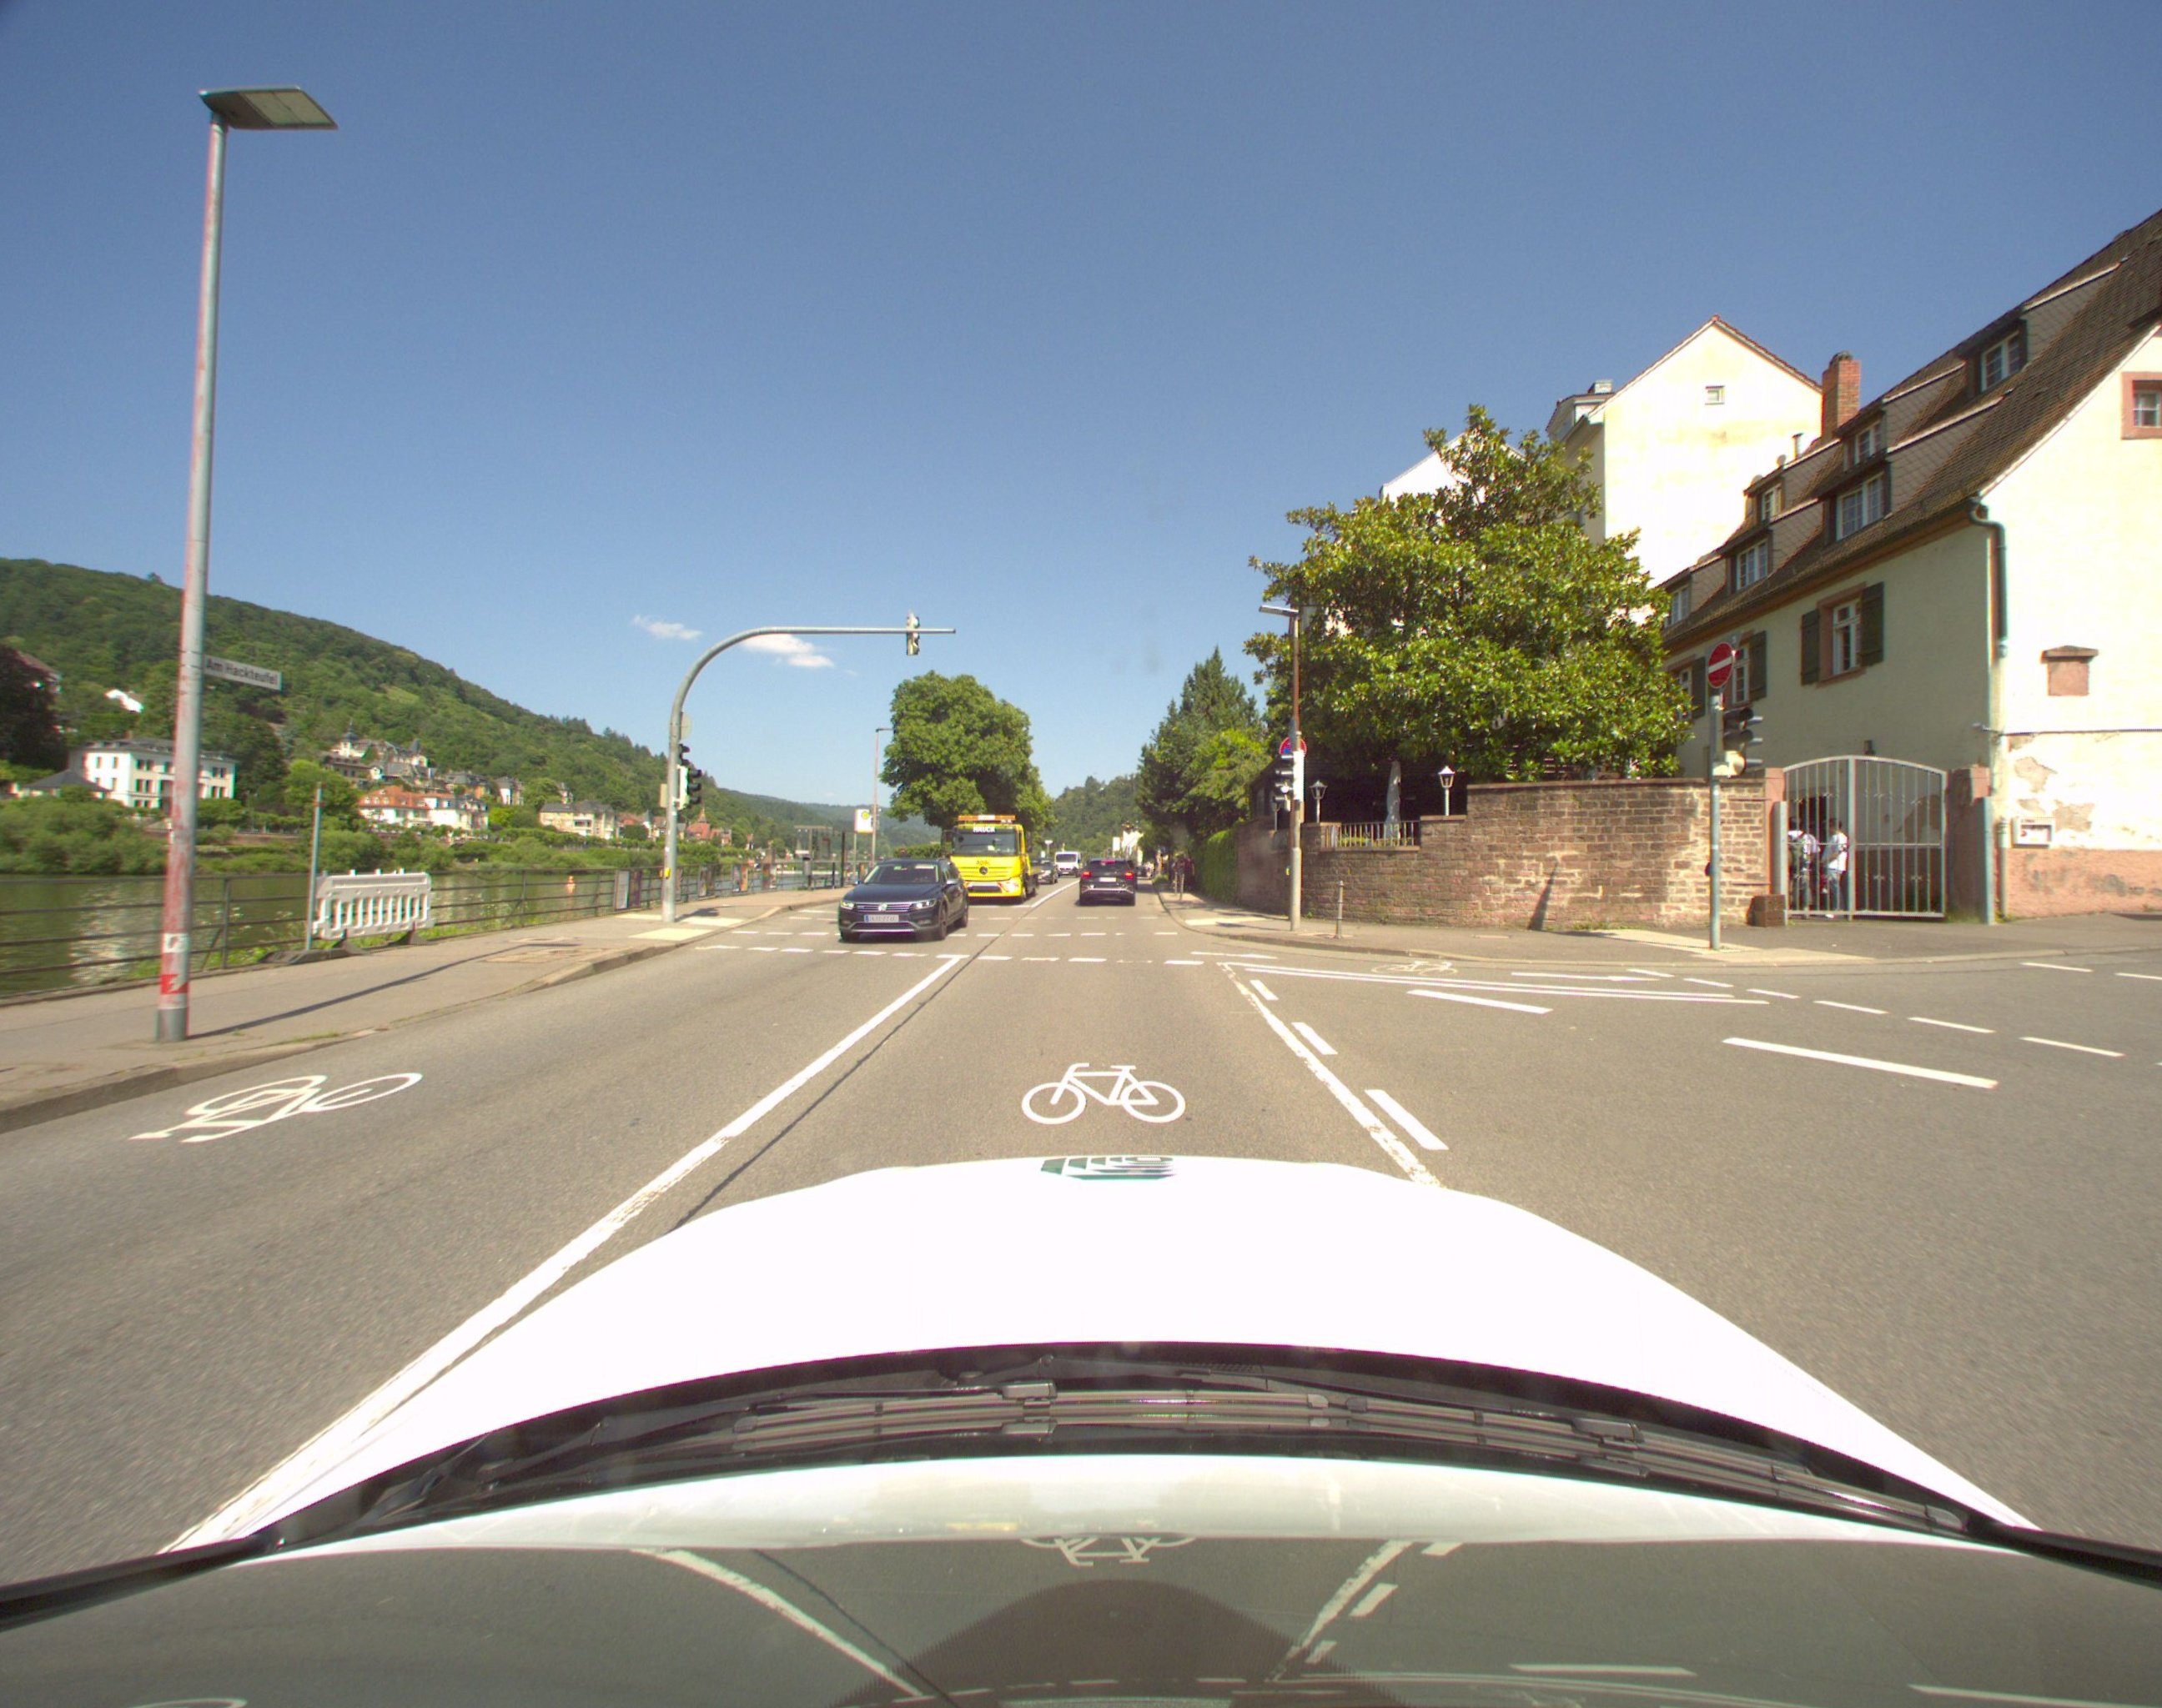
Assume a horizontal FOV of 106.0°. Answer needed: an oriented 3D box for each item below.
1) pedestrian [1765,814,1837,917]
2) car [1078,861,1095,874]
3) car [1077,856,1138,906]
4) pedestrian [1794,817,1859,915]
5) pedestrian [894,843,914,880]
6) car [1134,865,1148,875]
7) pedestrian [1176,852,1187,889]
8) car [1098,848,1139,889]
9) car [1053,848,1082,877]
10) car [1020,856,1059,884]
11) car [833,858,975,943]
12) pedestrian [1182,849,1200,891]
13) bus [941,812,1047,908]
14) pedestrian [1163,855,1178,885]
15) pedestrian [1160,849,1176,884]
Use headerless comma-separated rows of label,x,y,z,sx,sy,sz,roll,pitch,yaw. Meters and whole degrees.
pedestrian,12.253,0.191,13.887,0.716,1.706,0.712,-1,0,24
car,0.711,1.669,98.838,1.891,1.489,3.798,0,-1,3
car,0.944,0.844,26.955,1.848,1.524,4.004,0,-1,4
pedestrian,13.395,0.214,14.650,0.699,1.706,0.730,-1,0,29
pedestrian,-9.111,0.392,41.921,0.750,1.918,1.010,0,-2,3
car,9.101,2.479,123.500,1.985,1.453,4.011,0,-2,3
pedestrian,4.464,0.727,36.230,0.453,1.606,0.580,0,0,3
car,1.912,0.714,42.012,1.986,2.014,4.002,0,-1,2
car,-1.090,0.672,68.751,2.088,2.302,5.873,0,1,3
car,-2.312,0.883,46.672,1.808,1.398,4.349,-1,1,2
car,-3.306,0.799,16.060,1.802,1.406,4.357,0,0,0
pedestrian,4.704,0.676,34.883,0.678,1.742,0.914,0,1,3
bus,-2.830,0.196,29.065,2.587,2.896,8.451,0,0,2
pedestrian,5.058,0.885,45.999,0.725,1.650,0.883,-2,-1,3
pedestrian,4.073,0.581,38.210,0.732,1.634,0.921,0,0,3
